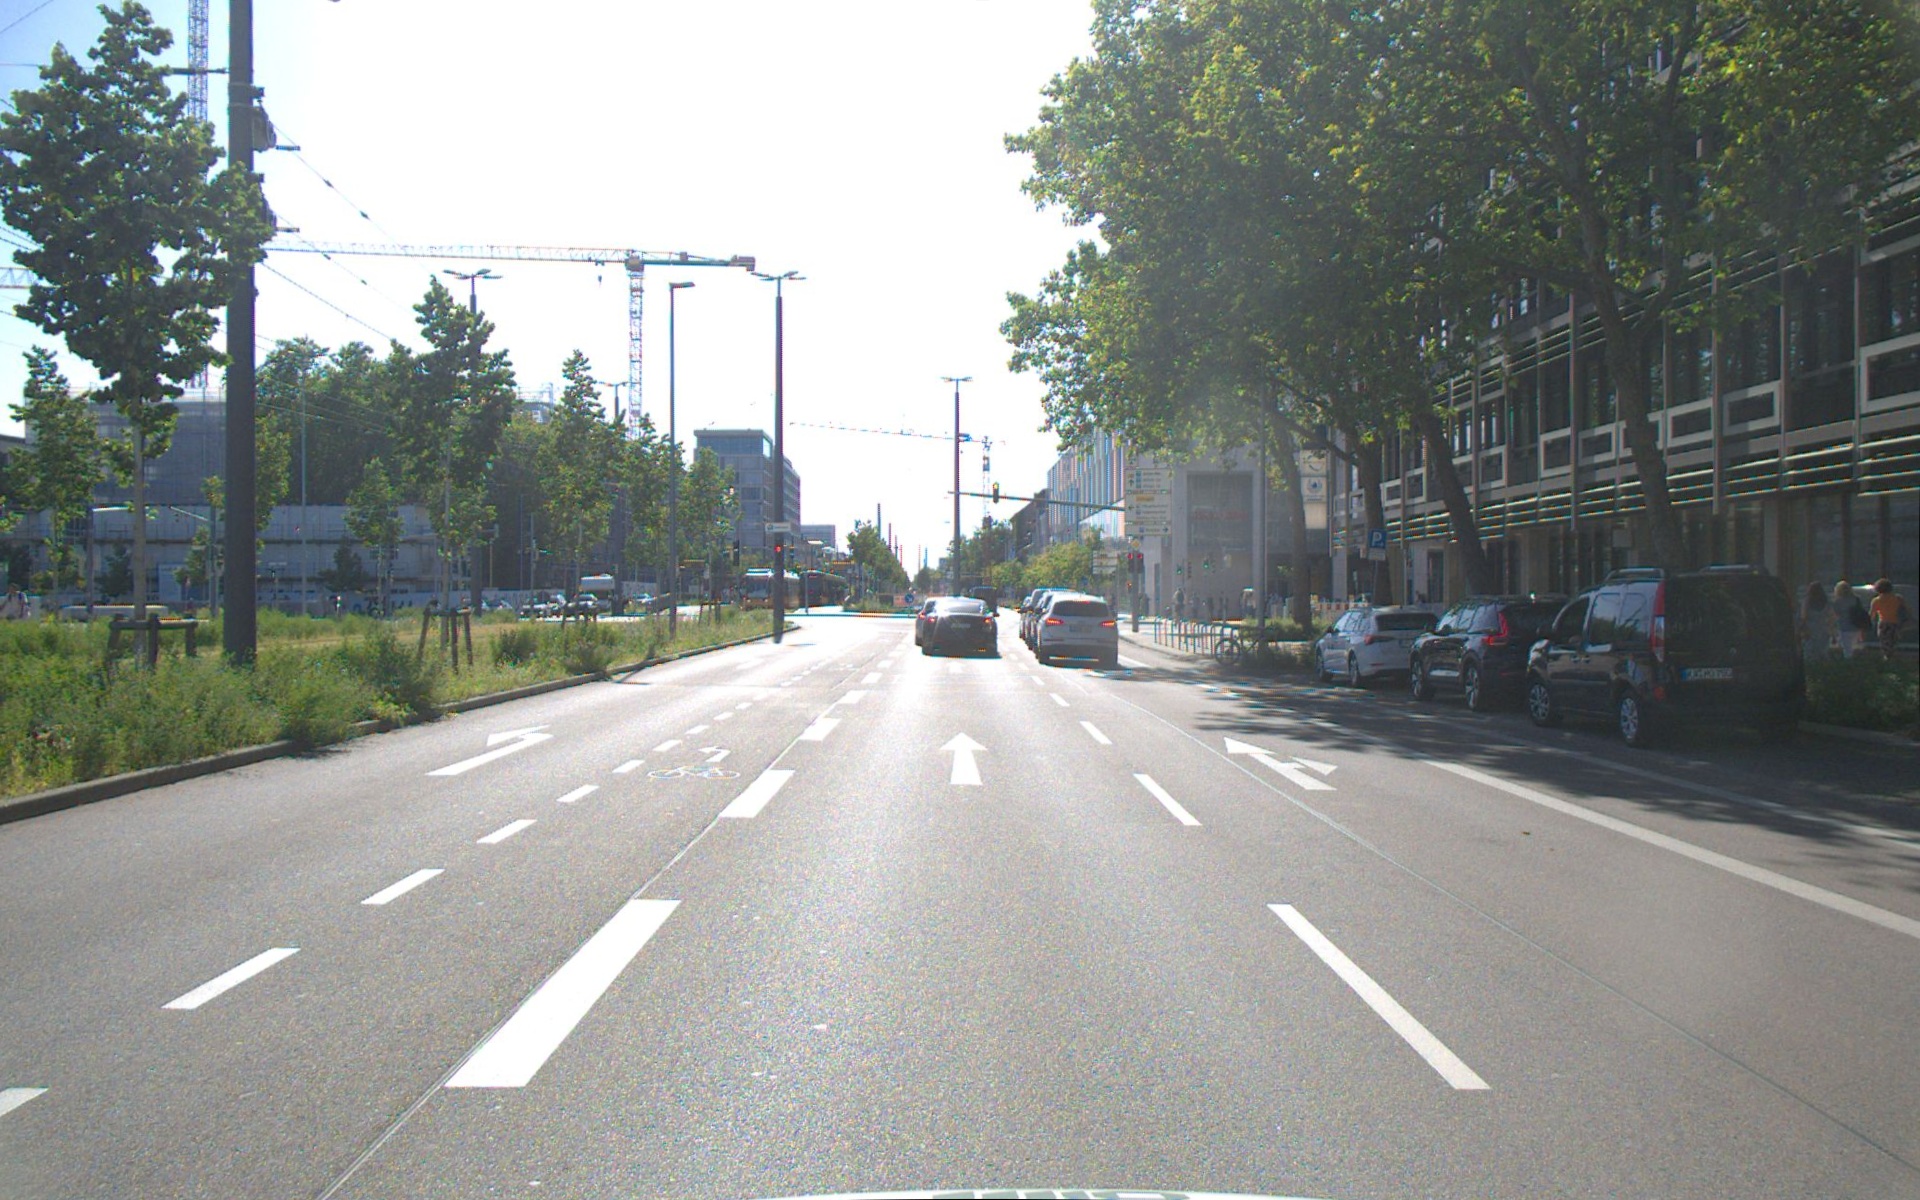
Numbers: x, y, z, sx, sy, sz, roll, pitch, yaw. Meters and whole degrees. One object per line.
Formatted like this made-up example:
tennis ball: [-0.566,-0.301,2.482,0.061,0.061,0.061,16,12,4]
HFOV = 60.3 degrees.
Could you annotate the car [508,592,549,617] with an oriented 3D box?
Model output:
car: [-29.824,0.333,114.322,1.800,1.641,3.894,2,-1,-1]

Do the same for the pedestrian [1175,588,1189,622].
pedestrian: [9.803,0.218,73.040,0.550,1.466,0.632,2,-1,6]

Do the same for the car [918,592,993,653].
car: [-0.158,0.562,43.748,1.873,1.512,4.008,0,0,-1]

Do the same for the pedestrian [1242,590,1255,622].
pedestrian: [13.394,0.283,76.772,0.550,1.466,0.632,2,-1,6]

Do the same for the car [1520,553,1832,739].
car: [7.949,0.442,18.805,1.669,1.821,4.192,-2,0,0]

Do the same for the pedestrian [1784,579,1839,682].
pedestrian: [13.532,0.474,26.303,0.496,1.612,0.634,0,0,-9]

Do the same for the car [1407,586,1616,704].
car: [8.026,0.606,24.461,1.669,1.591,4.192,0,0,0]

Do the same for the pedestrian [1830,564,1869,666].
pedestrian: [14.133,0.230,26.288,0.309,1.612,0.500,0,0,-9]

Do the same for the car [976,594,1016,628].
car: [1.564,0.461,72.970,1.686,1.456,4.186,0,0,0]

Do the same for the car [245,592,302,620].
car: [-40.587,0.359,97.908,1.676,1.583,3.999,2,-1,0]

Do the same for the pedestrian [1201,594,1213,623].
pedestrian: [12.636,0.449,84.754,0.550,1.466,0.632,2,-1,6]

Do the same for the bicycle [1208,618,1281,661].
bicycle: [6.824,0.949,39.710,1.660,0.974,0.478,-1,0,-5]

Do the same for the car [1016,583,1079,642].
car: [2.795,0.377,53.626,1.687,1.814,4.185,0,0,-2]

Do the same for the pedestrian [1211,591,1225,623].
pedestrian: [11.869,0.327,76.113,0.550,1.466,0.632,2,-1,6]

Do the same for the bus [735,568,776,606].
bus: [-16.561,-1.030,134.530,2.575,2.832,8.838,2,-1,-3]

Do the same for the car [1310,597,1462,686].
car: [7.921,0.716,31.160,1.669,1.519,4.600,0,0,0]

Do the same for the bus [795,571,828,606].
bus: [-13.551,-1.010,151.578,2.575,3.011,9.892,2,-1,-3]

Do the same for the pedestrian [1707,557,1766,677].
pedestrian: [12.862,0.281,27.396,0.663,1.950,0.557,2,-1,0]

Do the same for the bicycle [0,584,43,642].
bicycle: [-24.792,0.336,43.429,0.353,1.481,1.913,0,1,0]

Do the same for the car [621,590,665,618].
car: [-14.232,0.207,74.421,1.348,1.199,3.219,2,-1,-1]

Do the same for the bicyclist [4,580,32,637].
bicyclist: [-24.787,0.214,43.507,0.386,1.480,0.539,2,0,-1]

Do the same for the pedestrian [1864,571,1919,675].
pedestrian: [14.785,0.361,26.250,0.542,1.631,0.573,0,0,0]

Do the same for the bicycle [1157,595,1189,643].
bicycle: [6.757,0.605,52.567,0.550,1.466,2.575,2,-1,-1]

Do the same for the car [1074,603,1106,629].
car: [8.656,1.058,110.164,1.629,1.678,3.699,2,-1,-2]

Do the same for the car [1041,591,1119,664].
car: [2.863,0.624,40.206,1.686,1.646,4.187,0,0,1]

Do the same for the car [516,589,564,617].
car: [-18.974,0.139,74.825,1.348,1.199,3.219,2,-1,-1]

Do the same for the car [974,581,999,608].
car: [2.163,-0.435,136.437,1.953,2.049,3.999,2,-1,0]
